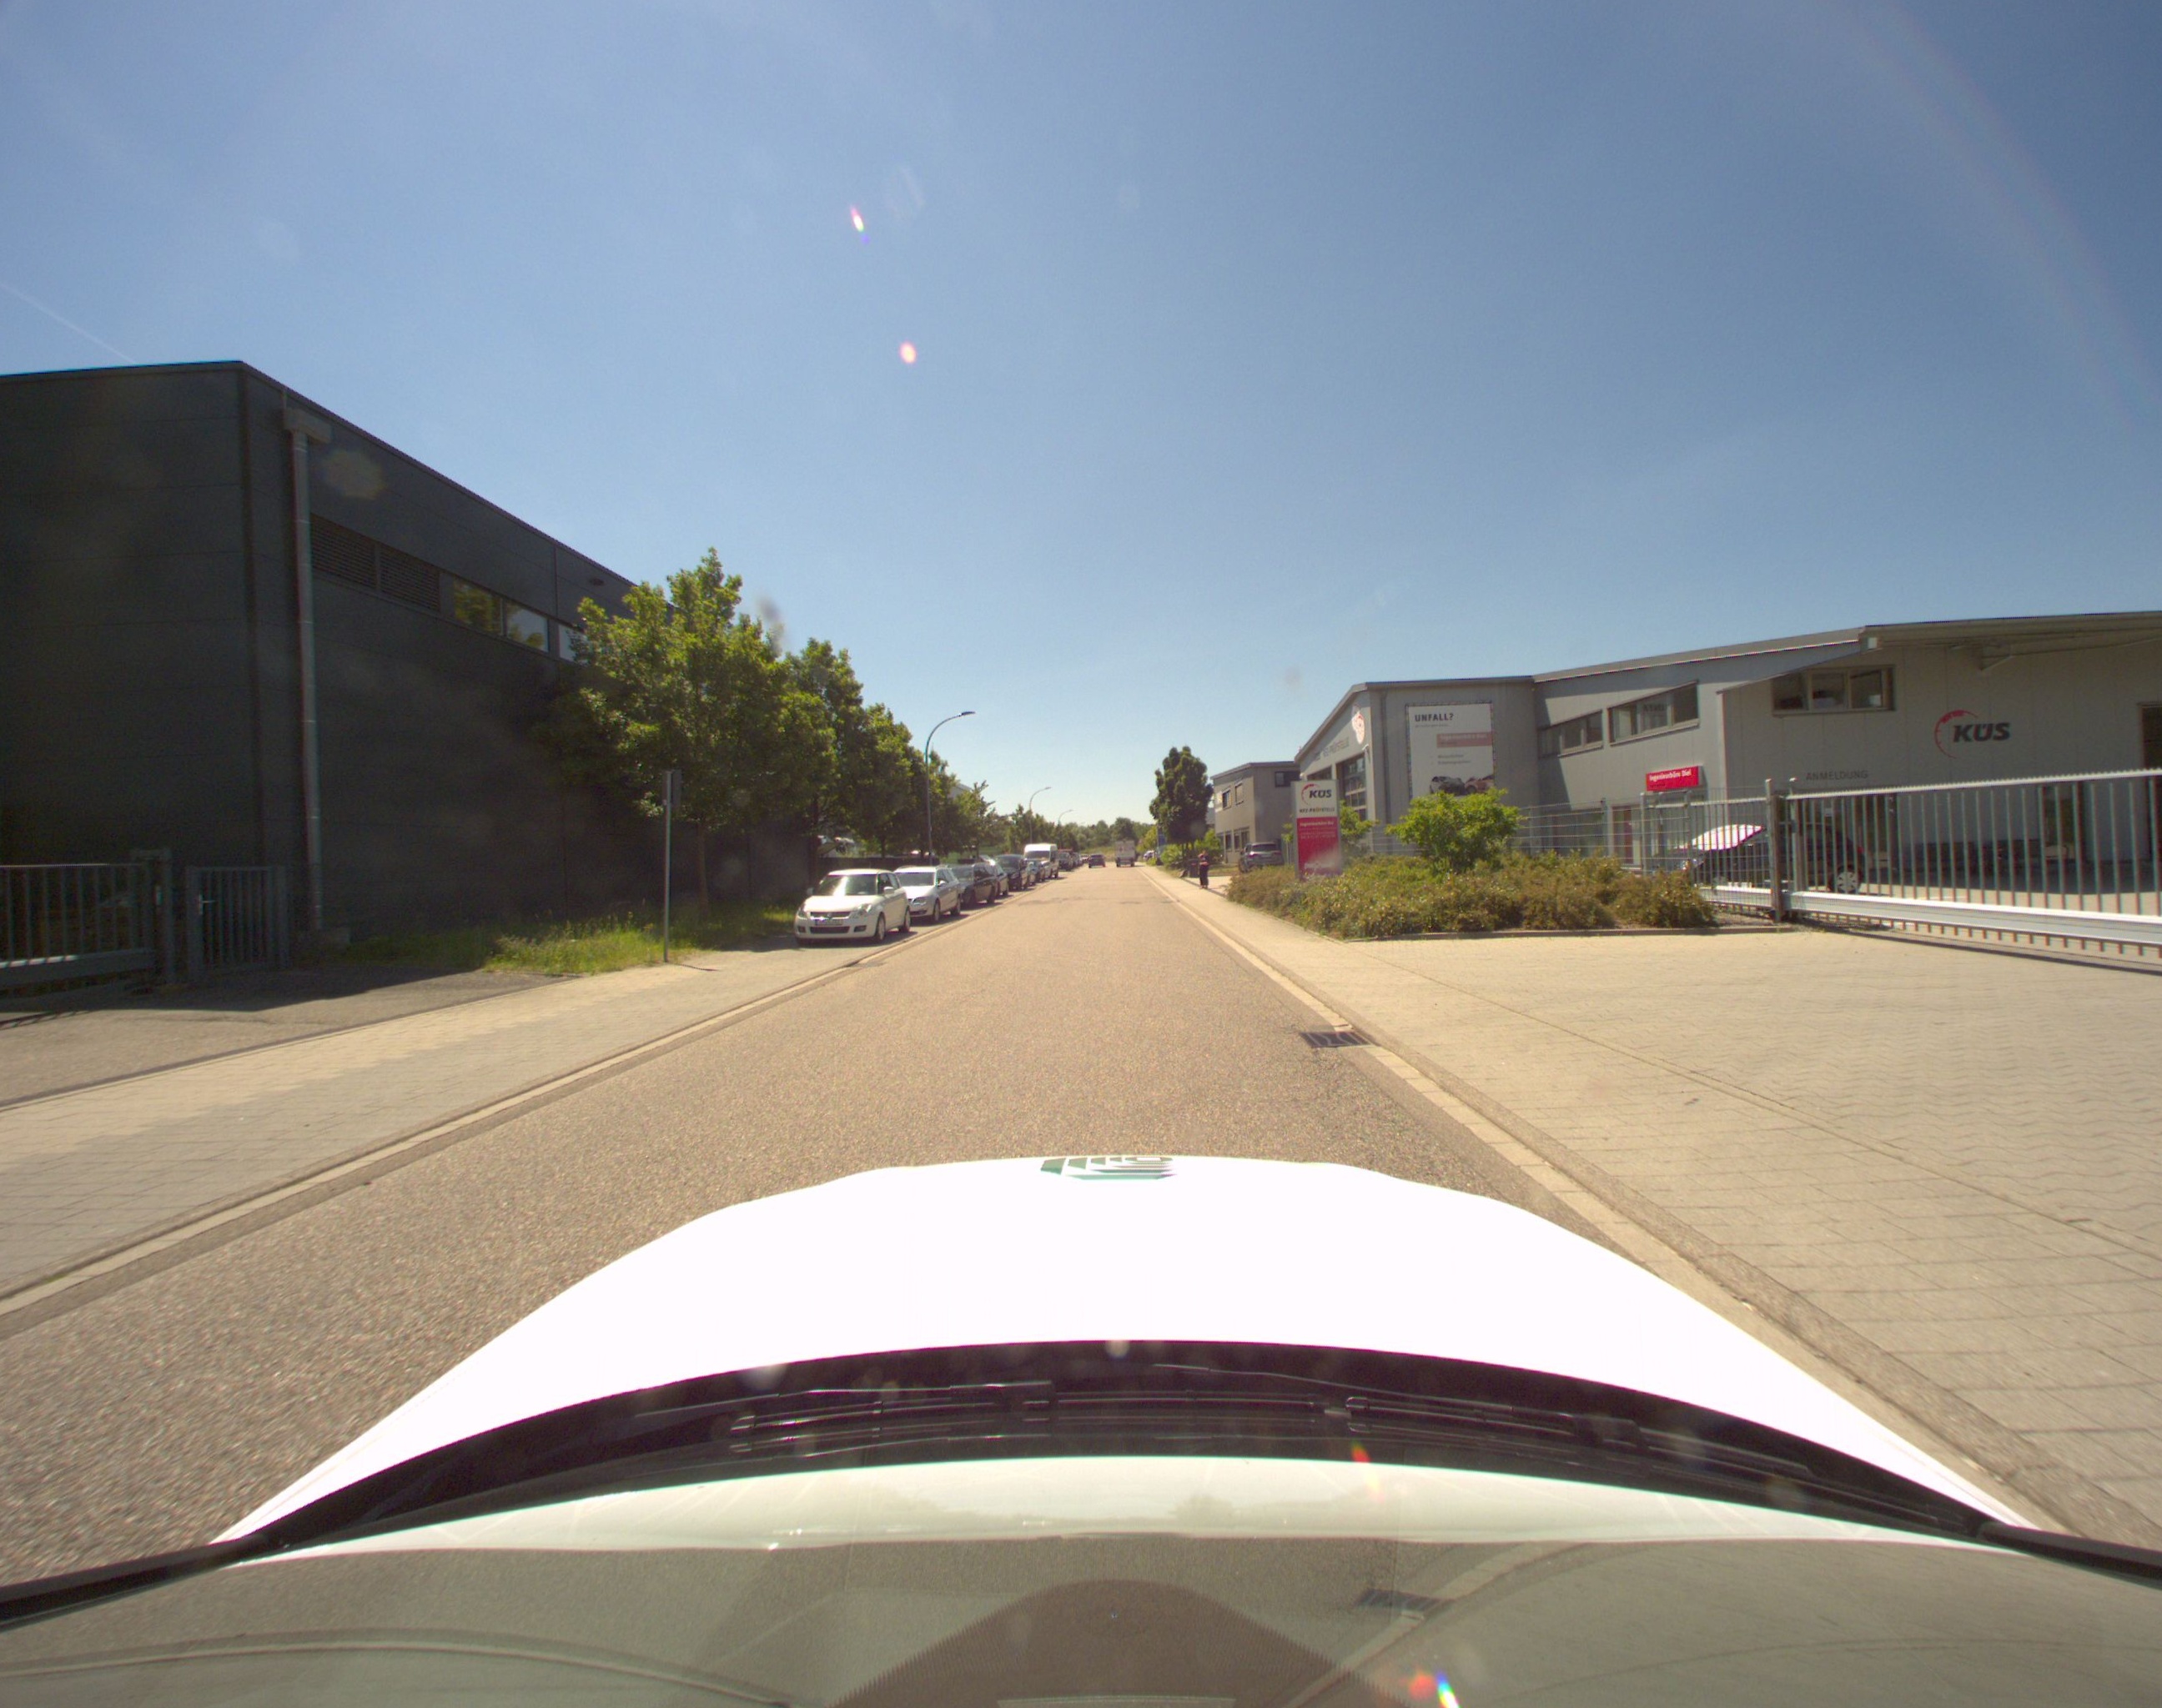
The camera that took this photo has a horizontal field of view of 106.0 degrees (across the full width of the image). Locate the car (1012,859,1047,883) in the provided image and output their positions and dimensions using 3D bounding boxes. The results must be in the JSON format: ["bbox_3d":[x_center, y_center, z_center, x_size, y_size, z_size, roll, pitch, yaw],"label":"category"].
[{"bbox_3d":[-3.204,1.063,51.803,1.792,1.449,4.254,-1,0,2],"label":"car"}]

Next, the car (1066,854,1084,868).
[{"bbox_3d":[-0.661,0.817,95.501,1.791,1.487,4.257,-2,0,4],"label":"car"}]

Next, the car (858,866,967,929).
[{"bbox_3d":[-4.509,1.115,22.458,1.792,1.476,4.558,-1,0,3],"label":"car"}]

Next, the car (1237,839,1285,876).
[{"bbox_3d":[9.568,0.224,43.704,1.777,1.783,4.911,-3,-1,5],"label":"car"}]

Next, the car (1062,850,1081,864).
[{"bbox_3d":[-1.037,0.274,90.799,1.791,1.487,4.257,-2,0,4],"label":"car"}]

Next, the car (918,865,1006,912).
[{"bbox_3d":[-4.105,1.155,28.896,1.789,1.476,4.647,-2,0,8],"label":"car"}]

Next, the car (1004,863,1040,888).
[{"bbox_3d":[-3.381,1.229,47.047,1.471,1.297,3.904,-2,0,4],"label":"car"}]

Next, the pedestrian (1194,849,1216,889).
[{"bbox_3d":[5.146,0.635,33.913,0.500,1.613,0.710,-6,-1,-14],"label":"pedestrian"}]

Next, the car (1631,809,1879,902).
[{"bbox_3d":[13.661,0.033,16.660,3.598,1.677,1.703,-2,-1,1],"label":"car"}]

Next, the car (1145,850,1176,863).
[{"bbox_3d":[10.472,0.367,107.553,3.863,1.750,1.751,0,-1,0],"label":"car"}]

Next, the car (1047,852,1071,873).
[{"bbox_3d":[-2.101,0.789,78.277,1.791,1.848,4.257,-1,0,4],"label":"car"}]

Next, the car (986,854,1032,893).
[{"bbox_3d":[-3.586,0.957,41.330,1.792,1.814,4.254,-1,0,2],"label":"car"}]

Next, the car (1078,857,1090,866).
[{"bbox_3d":[0.512,1.251,135.814,1.791,1.487,4.257,-2,0,4],"label":"car"}]

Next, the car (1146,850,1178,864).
[{"bbox_3d":[10.390,0.347,104.592,3.863,1.750,1.751,0,-1,0],"label":"car"}]

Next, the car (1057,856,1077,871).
[{"bbox_3d":[-1.455,0.969,86.175,1.791,1.487,4.257,-2,0,4],"label":"car"}]

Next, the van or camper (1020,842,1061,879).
[{"bbox_3d":[-2.818,0.483,58.295,2.069,2.483,6.138,0,0,5],"label":"van or camper"}]

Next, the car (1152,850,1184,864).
[{"bbox_3d":[10.935,0.331,102.237,3.863,1.750,1.751,0,-1,0],"label":"car"}]

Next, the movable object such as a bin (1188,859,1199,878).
[{"bbox_3d":[6.427,0.804,46.362,0.529,1.052,0.846,-2,-1,4],"label":"movable object such as a bin"}]

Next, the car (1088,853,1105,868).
[{"bbox_3d":[1.720,0.725,90.555,1.782,1.623,3.811,0,0,2],"label":"car"}]

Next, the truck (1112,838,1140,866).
[{"bbox_3d":[4.955,-0.144,89.593,2.921,2.974,6.424,0,0,3],"label":"truck"}]

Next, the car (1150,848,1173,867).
[{"bbox_3d":[8.239,0.335,83.670,1.987,1.803,4.139,-3,0,0],"label":"car"}]

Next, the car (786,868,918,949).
[{"bbox_3d":[-4.794,1.083,17.631,1.715,1.476,3.857,-1,0,0],"label":"car"}]

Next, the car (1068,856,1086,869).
[{"bbox_3d":[-0.484,1.014,101.341,1.791,1.487,4.257,-2,0,4],"label":"car"}]

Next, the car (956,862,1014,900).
[{"bbox_3d":[-4.108,1.124,35.448,1.792,1.476,4.590,-1,0,2],"label":"car"}]
